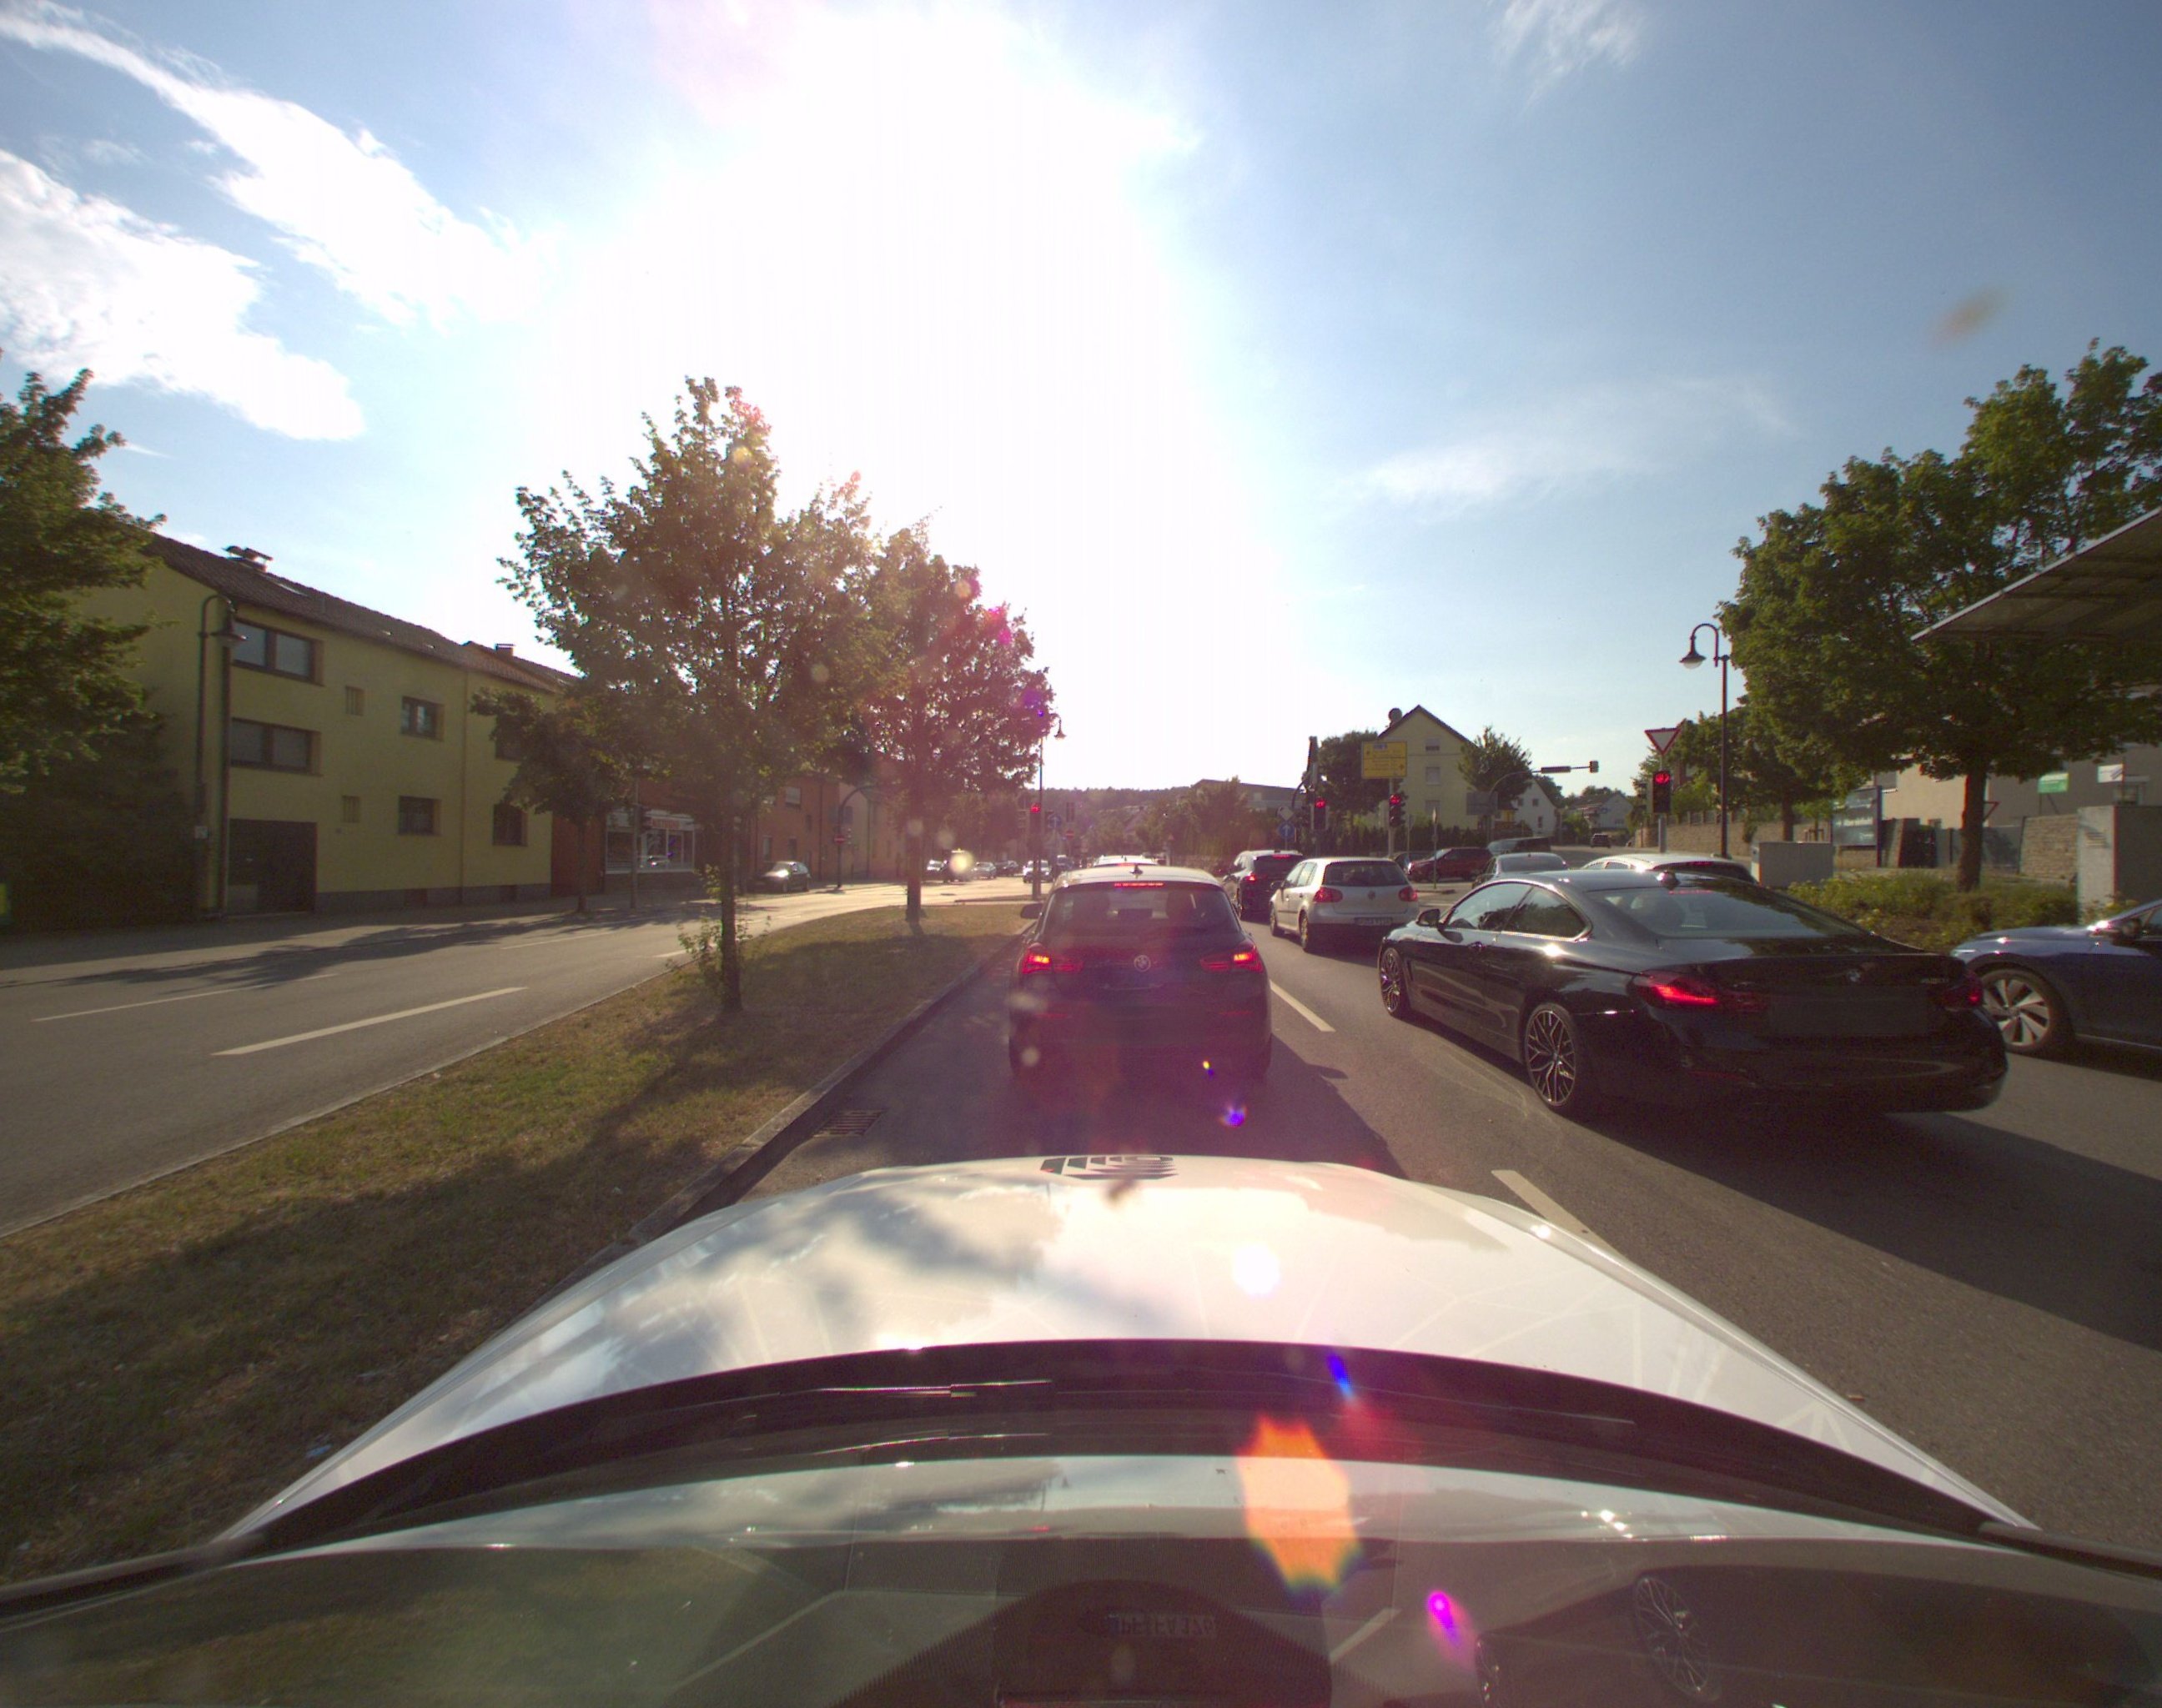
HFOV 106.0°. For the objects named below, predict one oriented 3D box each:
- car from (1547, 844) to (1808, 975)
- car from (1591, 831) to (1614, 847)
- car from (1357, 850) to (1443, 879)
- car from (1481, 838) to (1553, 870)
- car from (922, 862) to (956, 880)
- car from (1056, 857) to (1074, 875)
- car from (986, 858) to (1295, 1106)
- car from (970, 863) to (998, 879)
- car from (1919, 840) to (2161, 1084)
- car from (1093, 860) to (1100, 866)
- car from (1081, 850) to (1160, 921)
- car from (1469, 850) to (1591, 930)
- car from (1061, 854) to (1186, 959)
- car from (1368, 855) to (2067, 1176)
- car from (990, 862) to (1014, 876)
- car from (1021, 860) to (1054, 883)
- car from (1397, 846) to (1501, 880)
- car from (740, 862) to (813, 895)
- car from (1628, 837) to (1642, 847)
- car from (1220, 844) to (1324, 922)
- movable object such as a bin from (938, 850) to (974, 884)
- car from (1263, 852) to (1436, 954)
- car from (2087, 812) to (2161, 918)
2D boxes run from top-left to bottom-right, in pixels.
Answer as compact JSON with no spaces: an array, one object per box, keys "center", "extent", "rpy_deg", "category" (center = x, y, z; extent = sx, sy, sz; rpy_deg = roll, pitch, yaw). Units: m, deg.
[{"center":[8.113,0.667,11.464],"extent":[1.608,1.542,3.326],"rpy_deg":[-2,0,9],"category":"car"},{"center":[58.323,-1.656,91.026],"extent":[1.945,1.680,4.242],"rpy_deg":[-2,0,34],"category":"car"},{"center":[17.351,0.564,44.359],"extent":[3.974,1.489,1.848],"rpy_deg":[0,0,-1],"category":"car"},{"center":[24.971,-0.007,46.593],"extent":[4.806,1.739,1.827],"rpy_deg":[0,0,-37],"category":"car"},{"center":[-11.737,1.422,67.596],"extent":[1.728,1.301,4.006],"rpy_deg":[4,0,6],"category":"car"},{"center":[-2.249,1.696,115.192],"extent":[2.075,2.394,5.534],"rpy_deg":[0,0,4],"category":"car"},{"center":[0.444,0.770,6.968],"extent":[1.781,1.397,4.283],"rpy_deg":[-2,0,2],"category":"car"},{"center":[-8.726,1.512,73.388],"extent":[1.729,1.301,3.804],"rpy_deg":[4,0,5],"category":"car"},{"center":[7.395,0.648,4.243],"extent":[1.754,1.453,4.323],"rpy_deg":[-2,0,4],"category":"car"},{"center":[4.342,2.504,224.810],"extent":[1.729,1.301,3.804],"rpy_deg":[4,0,5],"category":"car"},{"center":[1.024,0.737,21.151],"extent":[1.781,1.594,4.283],"rpy_deg":[-2,0,2],"category":"car"},{"center":[9.885,0.709,18.237],"extent":[1.642,1.542,4.420],"rpy_deg":[-2,0,19],"category":"car"},{"center":[0.722,0.777,14.112],"extent":[1.781,1.494,4.283],"rpy_deg":[-2,0,2],"category":"car"},{"center":[3.622,0.736,5.823],"extent":[1.755,1.397,4.283],"rpy_deg":[-2,0,2],"category":"car"},{"center":[-8.212,1.572,85.147],"extent":[1.729,1.301,3.804],"rpy_deg":[4,0,5],"category":"car"},{"center":[-2.945,1.151,55.738],"extent":[1.832,1.482,4.002],"rpy_deg":[-1,0,2],"category":"car"},{"center":[18.354,0.451,40.736],"extent":[4.410,1.641,1.845],"rpy_deg":[0,0,-6],"category":"car"},{"center":[-14.133,1.113,38.034],"extent":[1.730,1.301,4.002],"rpy_deg":[4,0,2],"category":"car"},{"center":[101.748,-2.248,149.650],"extent":[1.946,1.680,4.242],"rpy_deg":[-2,0,32],"category":"car"},{"center":[4.572,0.646,20.045],"extent":[1.755,1.656,3.905],"rpy_deg":[-2,0,2],"category":"car"},{"center":[-9.369,0.941,61.355],"extent":[1.729,2.442,4.452],"rpy_deg":[-1,0,3],"category":"movable object such as a bin"},{"center":[4.324,0.713,13.763],"extent":[1.755,1.426,3.905],"rpy_deg":[-2,0,2],"category":"car"},{"center":[18.496,0.153,12.384],"extent":[3.793,1.632,1.784],"rpy_deg":[0,0,10],"category":"car"}]
